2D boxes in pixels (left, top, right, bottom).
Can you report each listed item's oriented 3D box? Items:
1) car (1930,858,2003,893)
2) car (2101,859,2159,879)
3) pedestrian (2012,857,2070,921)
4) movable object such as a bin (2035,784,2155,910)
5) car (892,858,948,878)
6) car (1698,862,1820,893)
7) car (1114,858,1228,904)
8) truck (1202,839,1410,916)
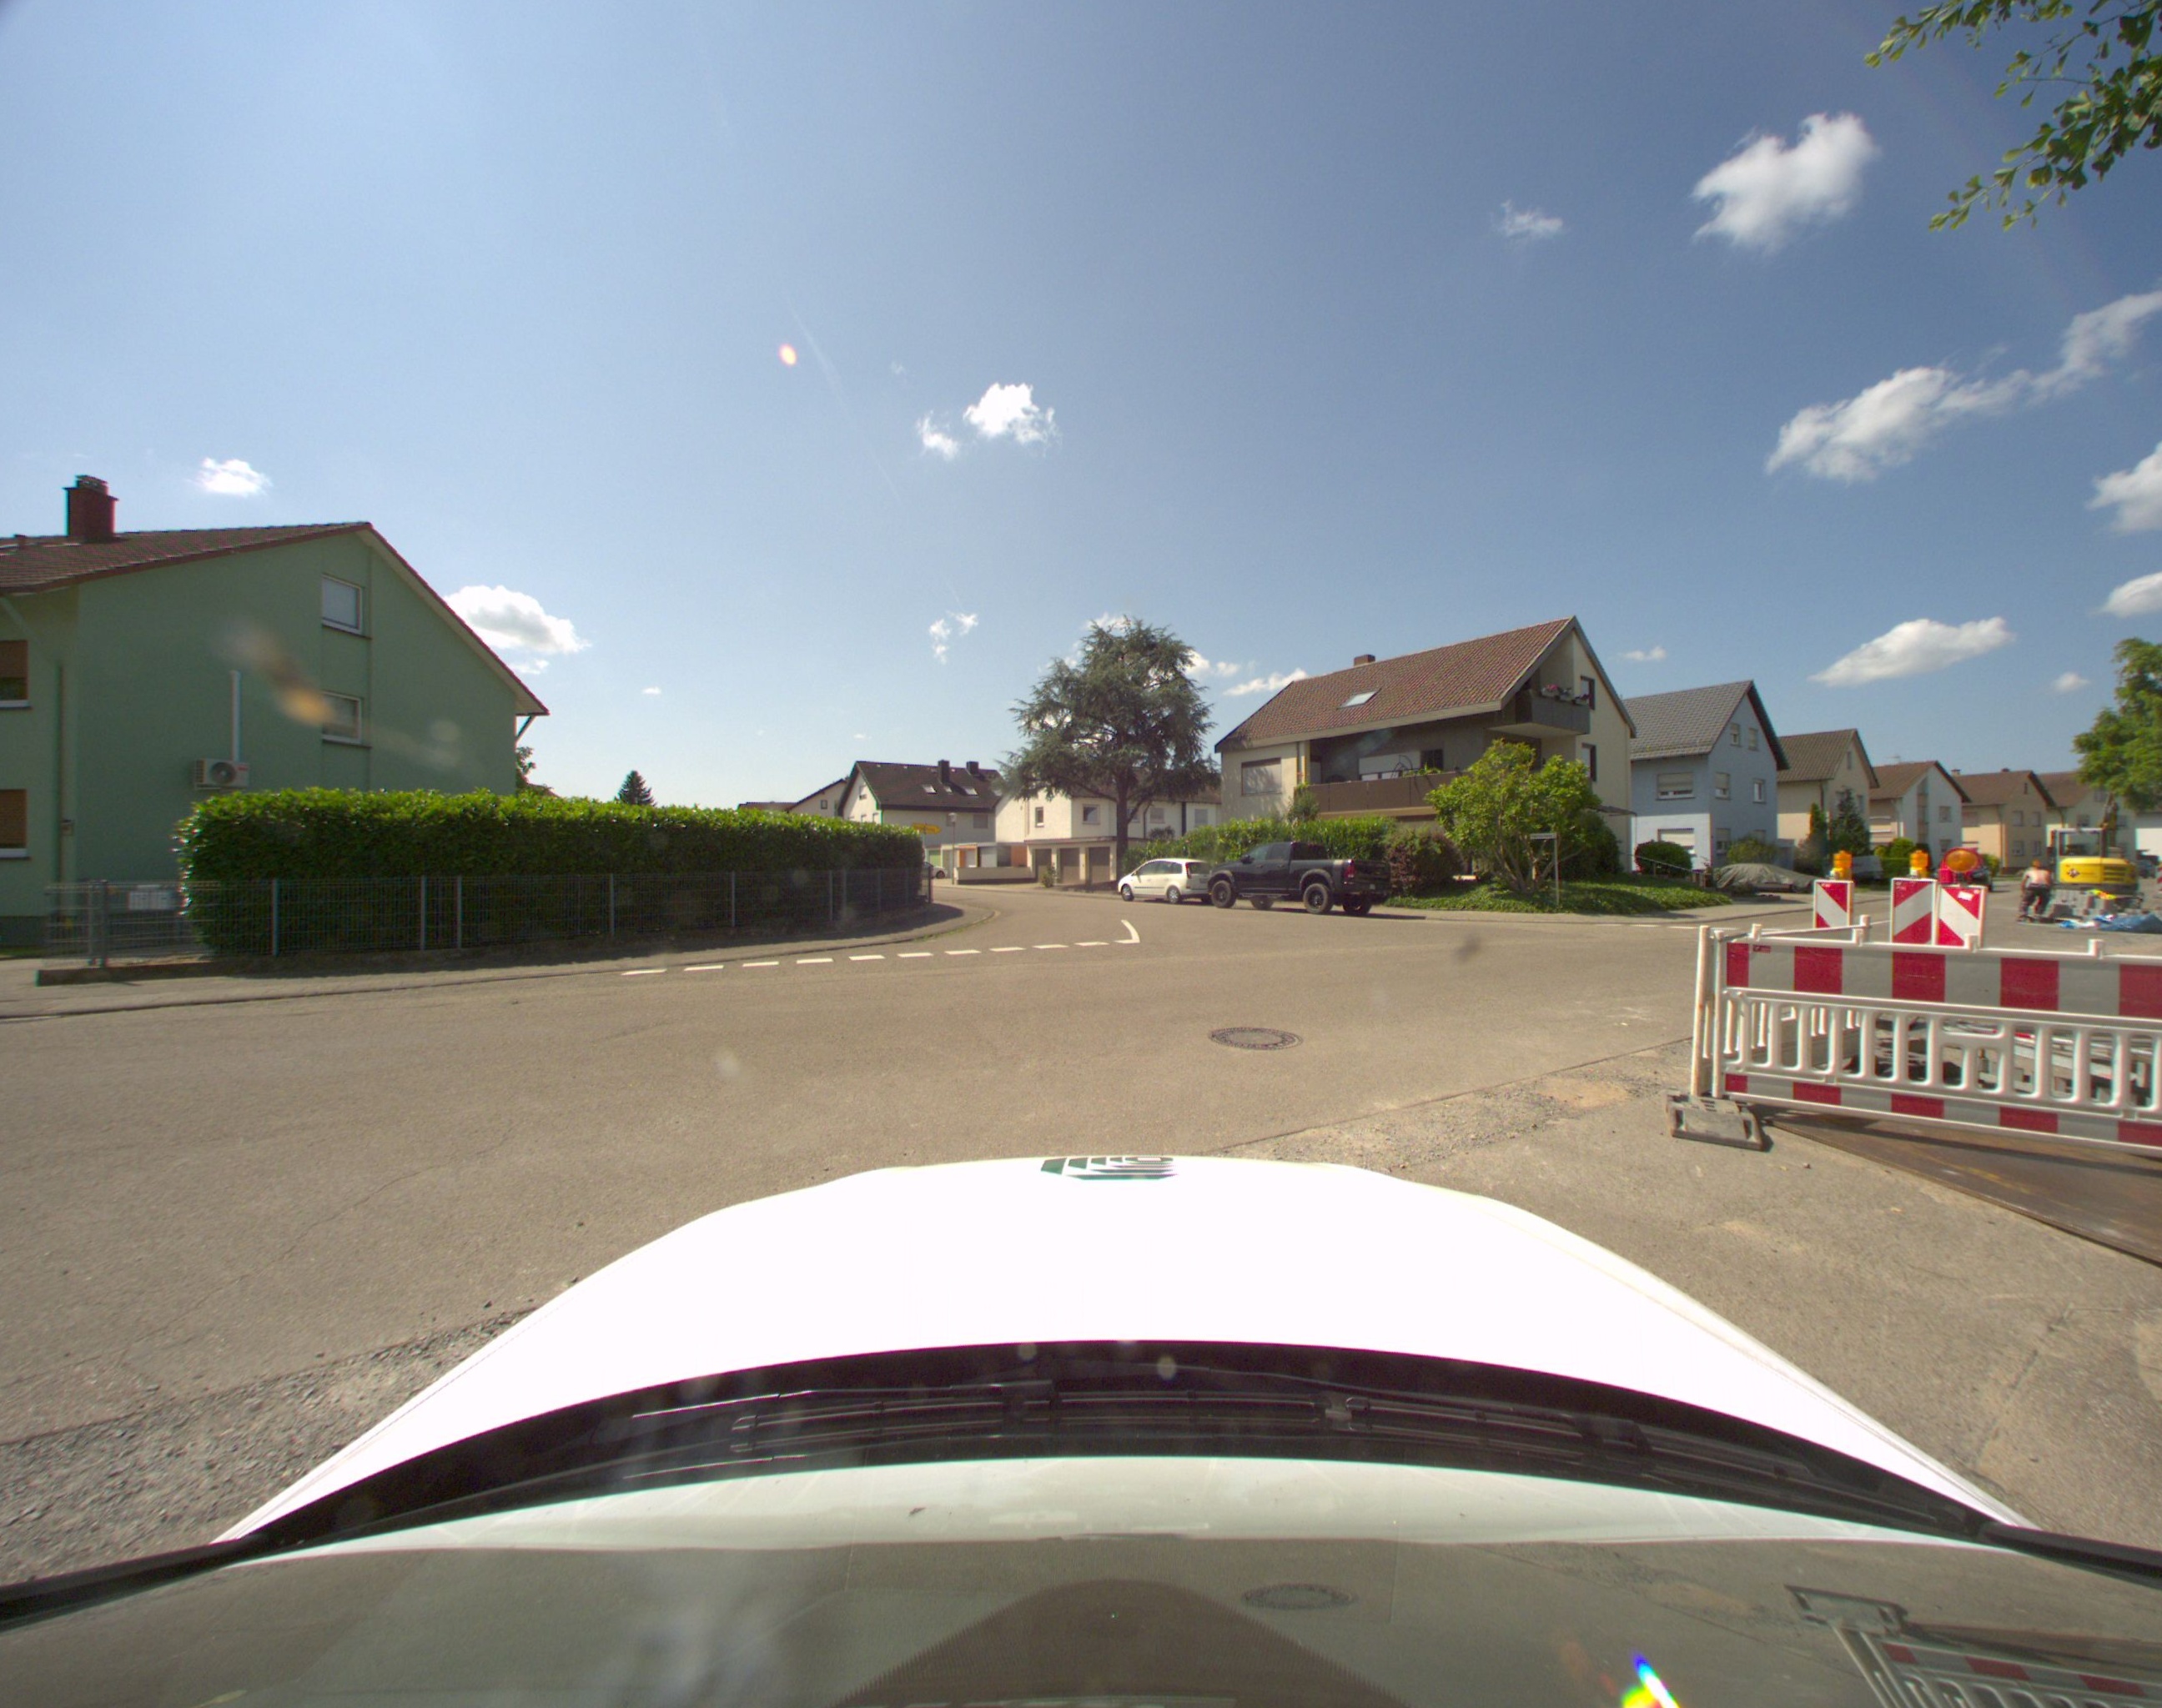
[{"bbox_3d":[42.111,0.988,38.710,4.018,1.542,1.899,0,-1,-37],"label":"car"},{"bbox_3d":[88.155,1.270,68.445,4.002,1.650,1.954,0,-1,-21],"label":"car"},{"bbox_3d":[23.092,0.825,19.587,0.848,1.514,0.530,0,-1,-12],"label":"pedestrian"},{"bbox_3d":[31.088,-0.196,24.953,3.830,3.565,1.979,0,-1,-34],"label":"movable object such as a bin"},{"bbox_3d":[-11.779,0.983,59.659,3.625,1.408,1.765,0,-1,-35],"label":"car"},{"bbox_3d":[31.112,1.044,37.485,2.009,1.342,3.956,0,-1,-36],"label":"car"},{"bbox_3d":[3.192,0.919,29.582,1.811,1.563,4.097,0,-1,-37],"label":"car"},{"bbox_3d":[6.454,0.641,24.062,2.382,2.014,5.648,1,-1,-37],"label":"truck"}]
